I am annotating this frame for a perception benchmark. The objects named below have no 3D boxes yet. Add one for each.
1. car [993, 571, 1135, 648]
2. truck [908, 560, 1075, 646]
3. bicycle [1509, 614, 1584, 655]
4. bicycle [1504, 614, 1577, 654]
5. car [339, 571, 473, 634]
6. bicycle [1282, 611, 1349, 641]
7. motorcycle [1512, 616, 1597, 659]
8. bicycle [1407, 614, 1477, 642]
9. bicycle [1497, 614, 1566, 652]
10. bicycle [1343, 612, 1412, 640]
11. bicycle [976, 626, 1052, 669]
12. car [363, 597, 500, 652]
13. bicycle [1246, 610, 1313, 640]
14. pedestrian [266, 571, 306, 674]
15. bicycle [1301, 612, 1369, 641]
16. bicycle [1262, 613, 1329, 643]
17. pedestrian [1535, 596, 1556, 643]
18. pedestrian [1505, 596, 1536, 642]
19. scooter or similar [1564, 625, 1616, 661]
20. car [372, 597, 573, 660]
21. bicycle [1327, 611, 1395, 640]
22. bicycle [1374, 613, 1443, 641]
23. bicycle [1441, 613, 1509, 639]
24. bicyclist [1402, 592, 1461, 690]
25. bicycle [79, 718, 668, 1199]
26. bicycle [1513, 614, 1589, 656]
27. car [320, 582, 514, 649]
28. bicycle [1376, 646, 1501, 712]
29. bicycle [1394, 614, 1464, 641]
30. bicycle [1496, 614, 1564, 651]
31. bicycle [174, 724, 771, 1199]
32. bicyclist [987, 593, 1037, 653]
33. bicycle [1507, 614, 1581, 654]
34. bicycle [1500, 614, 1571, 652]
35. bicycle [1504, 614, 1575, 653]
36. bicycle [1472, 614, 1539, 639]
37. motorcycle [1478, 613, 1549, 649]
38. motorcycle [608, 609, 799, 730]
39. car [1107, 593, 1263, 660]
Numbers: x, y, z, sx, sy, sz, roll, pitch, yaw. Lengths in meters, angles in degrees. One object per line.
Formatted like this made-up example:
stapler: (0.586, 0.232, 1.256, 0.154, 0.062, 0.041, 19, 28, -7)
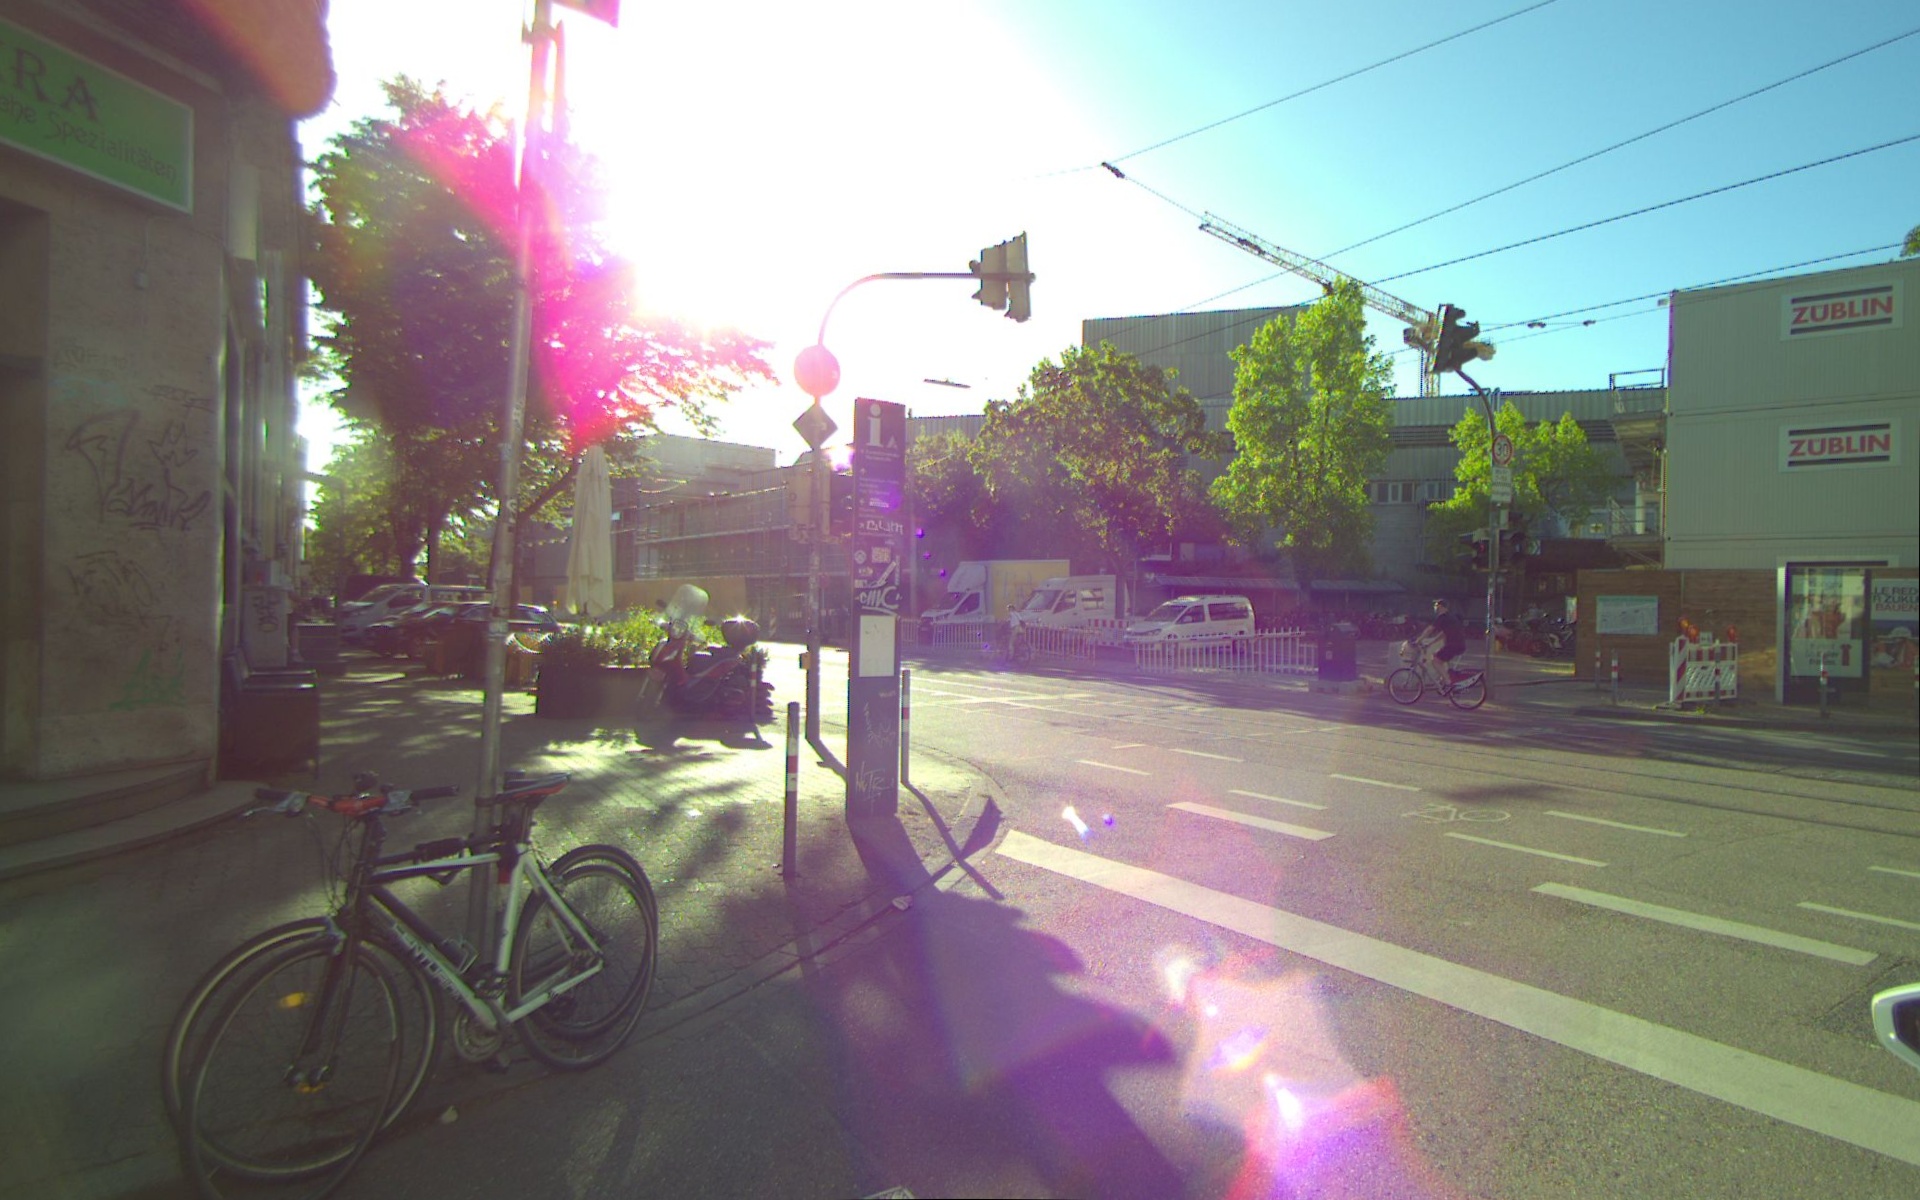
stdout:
car: (3.965, 0.292, 37.679, 5.329, 2.565, 1.979, -3, 2, -37)
truck: (1.424, 0.052, 42.799, 7.044, 3.393, 2.368, -1, 1, -34)
bicycle: (18.833, 1.096, 32.280, 2.009, 1.274, 0.471, 0, 0, 19)
bicycle: (19.183, 1.105, 33.234, 2.009, 1.274, 0.471, 0, 0, 19)
car: (-25.987, 0.171, 47.183, 5.151, 2.611, 2.222, 5, -3, -37)
bicycle: (14.952, 1.082, 42.360, 0.810, 1.163, 3.070, 0, 0, -24)
motorcycle: (18.215, 1.131, 30.832, 2.168, 1.274, 0.543, 0, 0, 19)
bicycle: (21.827, 1.239, 45.561, 0.810, 1.163, 3.070, 0, 0, -24)
bicycle: (19.824, 1.125, 34.858, 2.009, 1.274, 0.543, 0, 0, 19)
bicycle: (18.226, 1.122, 43.926, 0.810, 1.163, 3.070, 0, 0, -24)
bicycle: (1.494, 1.329, 28.352, 0.886, 1.107, 2.408, 2, -1, -33)
car: (-16.258, 0.723, 31.025, 1.659, 1.523, 3.317, 4, 1, 32)
bicycle: (13.106, 1.023, 41.320, 0.810, 1.163, 3.070, 0, 0, -24)
pedestrian: (-11.197, 0.365, 16.695, 0.534, 1.665, 0.564, 0, 1, -36)
bicycle: (15.936, 1.114, 42.760, 0.810, 1.163, 3.070, 0, 0, -24)
bicycle: (13.935, 1.134, 41.853, 0.810, 1.163, 3.070, 0, 0, -24)
pedestrian: (26.110, 0.859, 44.796, 0.789, 2.040, 1.028, 0, 0, 33)
pedestrian: (24.890, 0.830, 44.588, 0.925, 2.040, 0.798, 0, 0, -23)
scooter or similar: (18.350, 1.252, 29.258, 1.463, 1.034, 0.384, 0, 0, -15)
car: (-12.817, 0.729, 26.723, 1.660, 1.510, 4.632, 0, -1, 33)
bicycle: (17.309, 1.093, 43.473, 0.810, 1.163, 3.070, 0, 0, -24)
bicycle: (19.915, 1.177, 44.674, 0.810, 1.163, 3.070, 0, 0, -24)
bicycle: (24.521, 1.222, 47.880, 0.810, 1.163, 3.070, 0, 0, -24)
bicyclist: (8.378, 0.709, 17.850, 0.799, 1.680, 0.679, 0, 0, 39)
bicycle: (-1.640, 0.996, 3.149, 0.442, 1.060, 1.663, 1, 0, 23)
bicycle: (18.693, 1.091, 31.821, 2.009, 1.274, 0.471, 0, 0, 19)
car: (-17.735, 0.492, 33.122, 2.004, 2.018, 5.334, 1, 0, 33)
bicycle: (8.452, 1.371, 17.783, 1.892, 1.032, 0.679, 0, 0, 39)
bicycle: (21.015, 1.213, 45.117, 0.810, 1.163, 3.070, 0, 0, -24)
bicycle: (20.075, 1.133, 35.399, 2.009, 1.274, 0.543, 0, 0, 19)
bicycle: (-1.221, 1.019, 2.948, 0.449, 1.060, 1.687, 1, 2, 23)
bicyclist: (1.470, 0.644, 28.425, 0.886, 1.661, 1.090, 2, -1, -33)
bicycle: (19.017, 1.100, 32.749, 2.009, 1.274, 0.471, 0, 0, 19)
bicycle: (19.629, 1.119, 34.288, 2.009, 1.274, 0.543, 0, 0, 19)
bicycle: (19.436, 1.113, 33.727, 2.009, 1.274, 0.543, 0, 0, 19)
bicycle: (26.887, 1.298, 49.596, 0.810, 1.163, 3.070, 0, 0, -24)
motorcycle: (20.162, 1.116, 36.626, 2.168, 1.274, 0.543, 0, 0, 19)
motorcycle: (-3.165, 0.852, 12.744, 0.982, 1.368, 2.419, 0, -3, 26)
car: (7.365, 0.796, 32.720, 4.885, 1.918, 1.996, -2, 1, -29)
